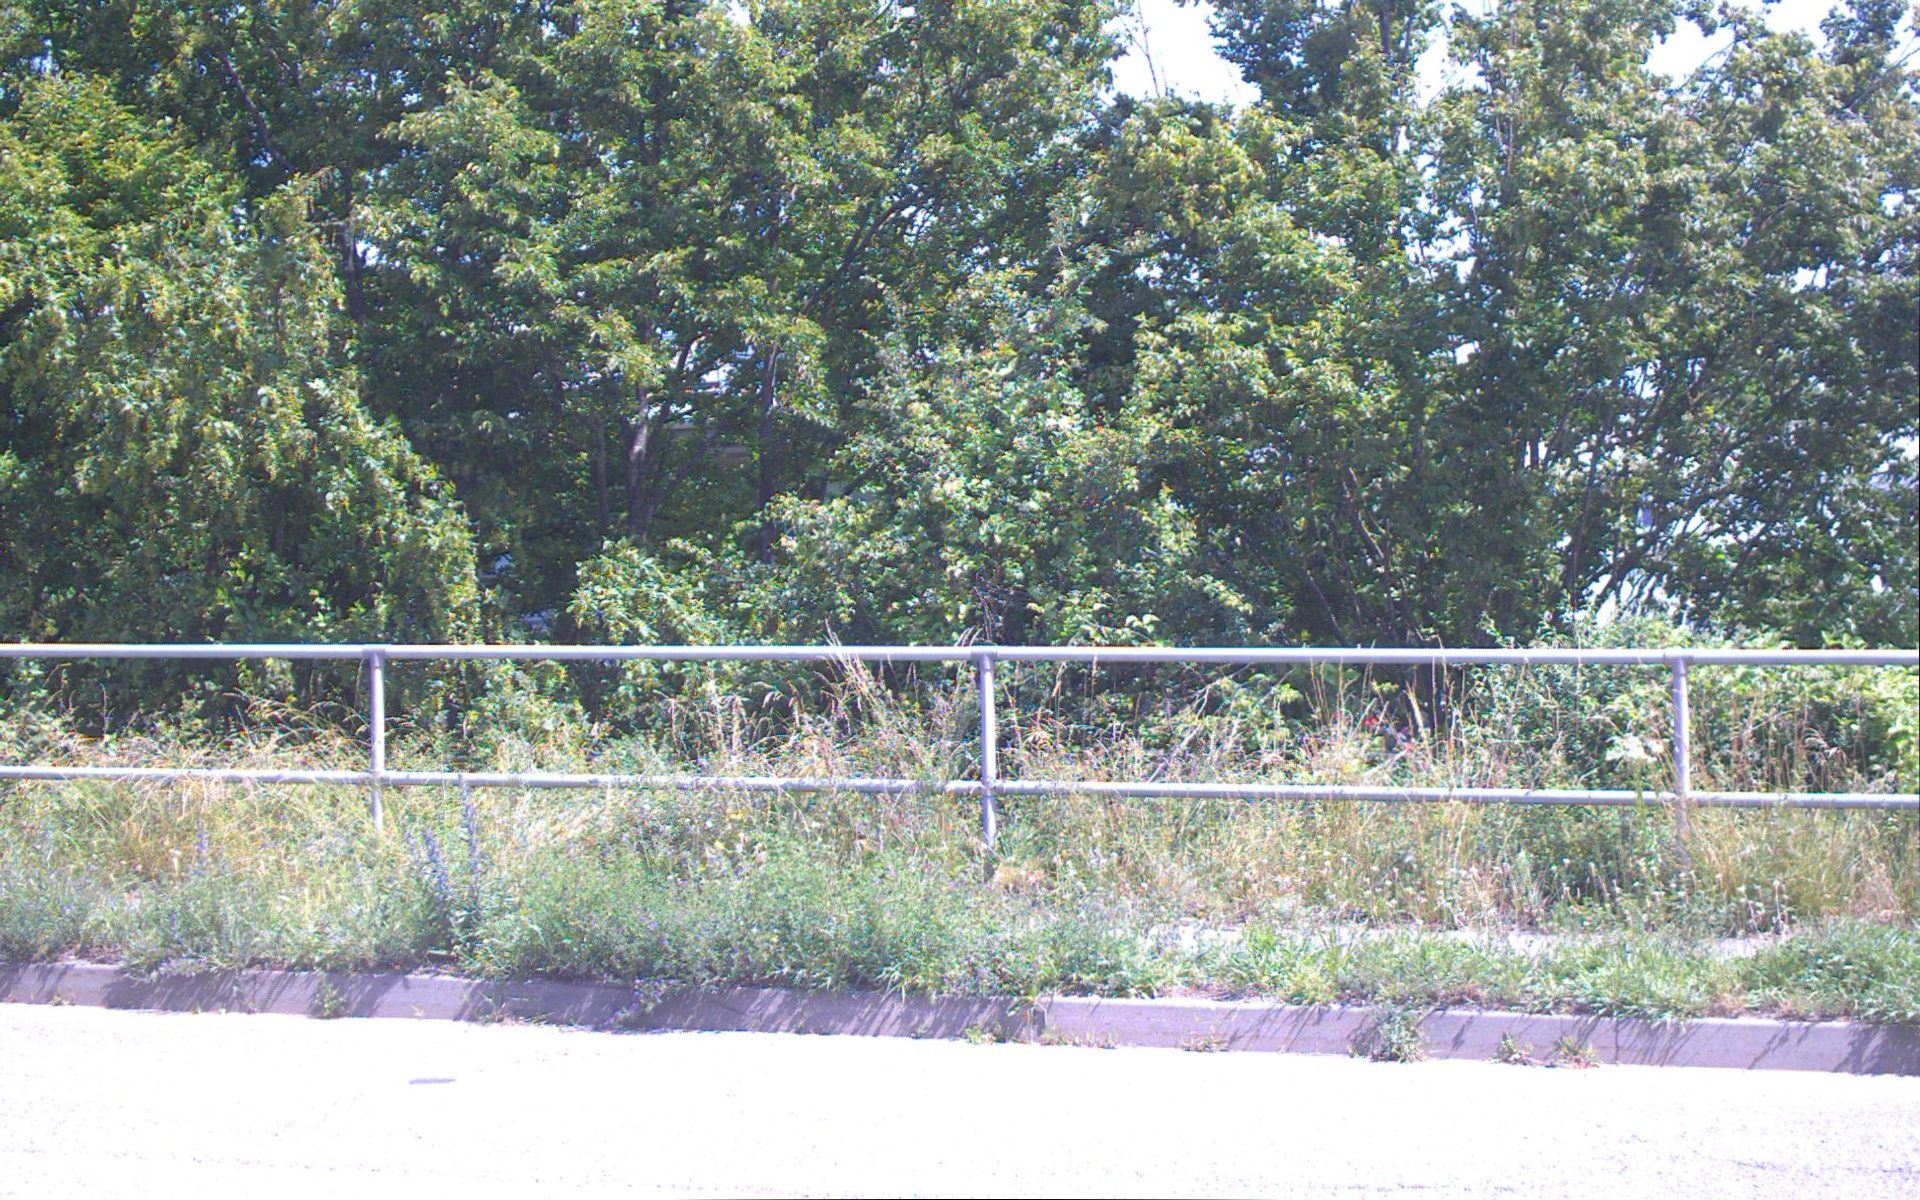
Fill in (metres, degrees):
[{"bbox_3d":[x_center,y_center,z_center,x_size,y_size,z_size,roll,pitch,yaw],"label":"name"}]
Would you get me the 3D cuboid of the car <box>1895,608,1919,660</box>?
[{"bbox_3d":[39.980,1.395,142.275,1.994,2.007,4.861,0,1,9],"label":"car"}]
